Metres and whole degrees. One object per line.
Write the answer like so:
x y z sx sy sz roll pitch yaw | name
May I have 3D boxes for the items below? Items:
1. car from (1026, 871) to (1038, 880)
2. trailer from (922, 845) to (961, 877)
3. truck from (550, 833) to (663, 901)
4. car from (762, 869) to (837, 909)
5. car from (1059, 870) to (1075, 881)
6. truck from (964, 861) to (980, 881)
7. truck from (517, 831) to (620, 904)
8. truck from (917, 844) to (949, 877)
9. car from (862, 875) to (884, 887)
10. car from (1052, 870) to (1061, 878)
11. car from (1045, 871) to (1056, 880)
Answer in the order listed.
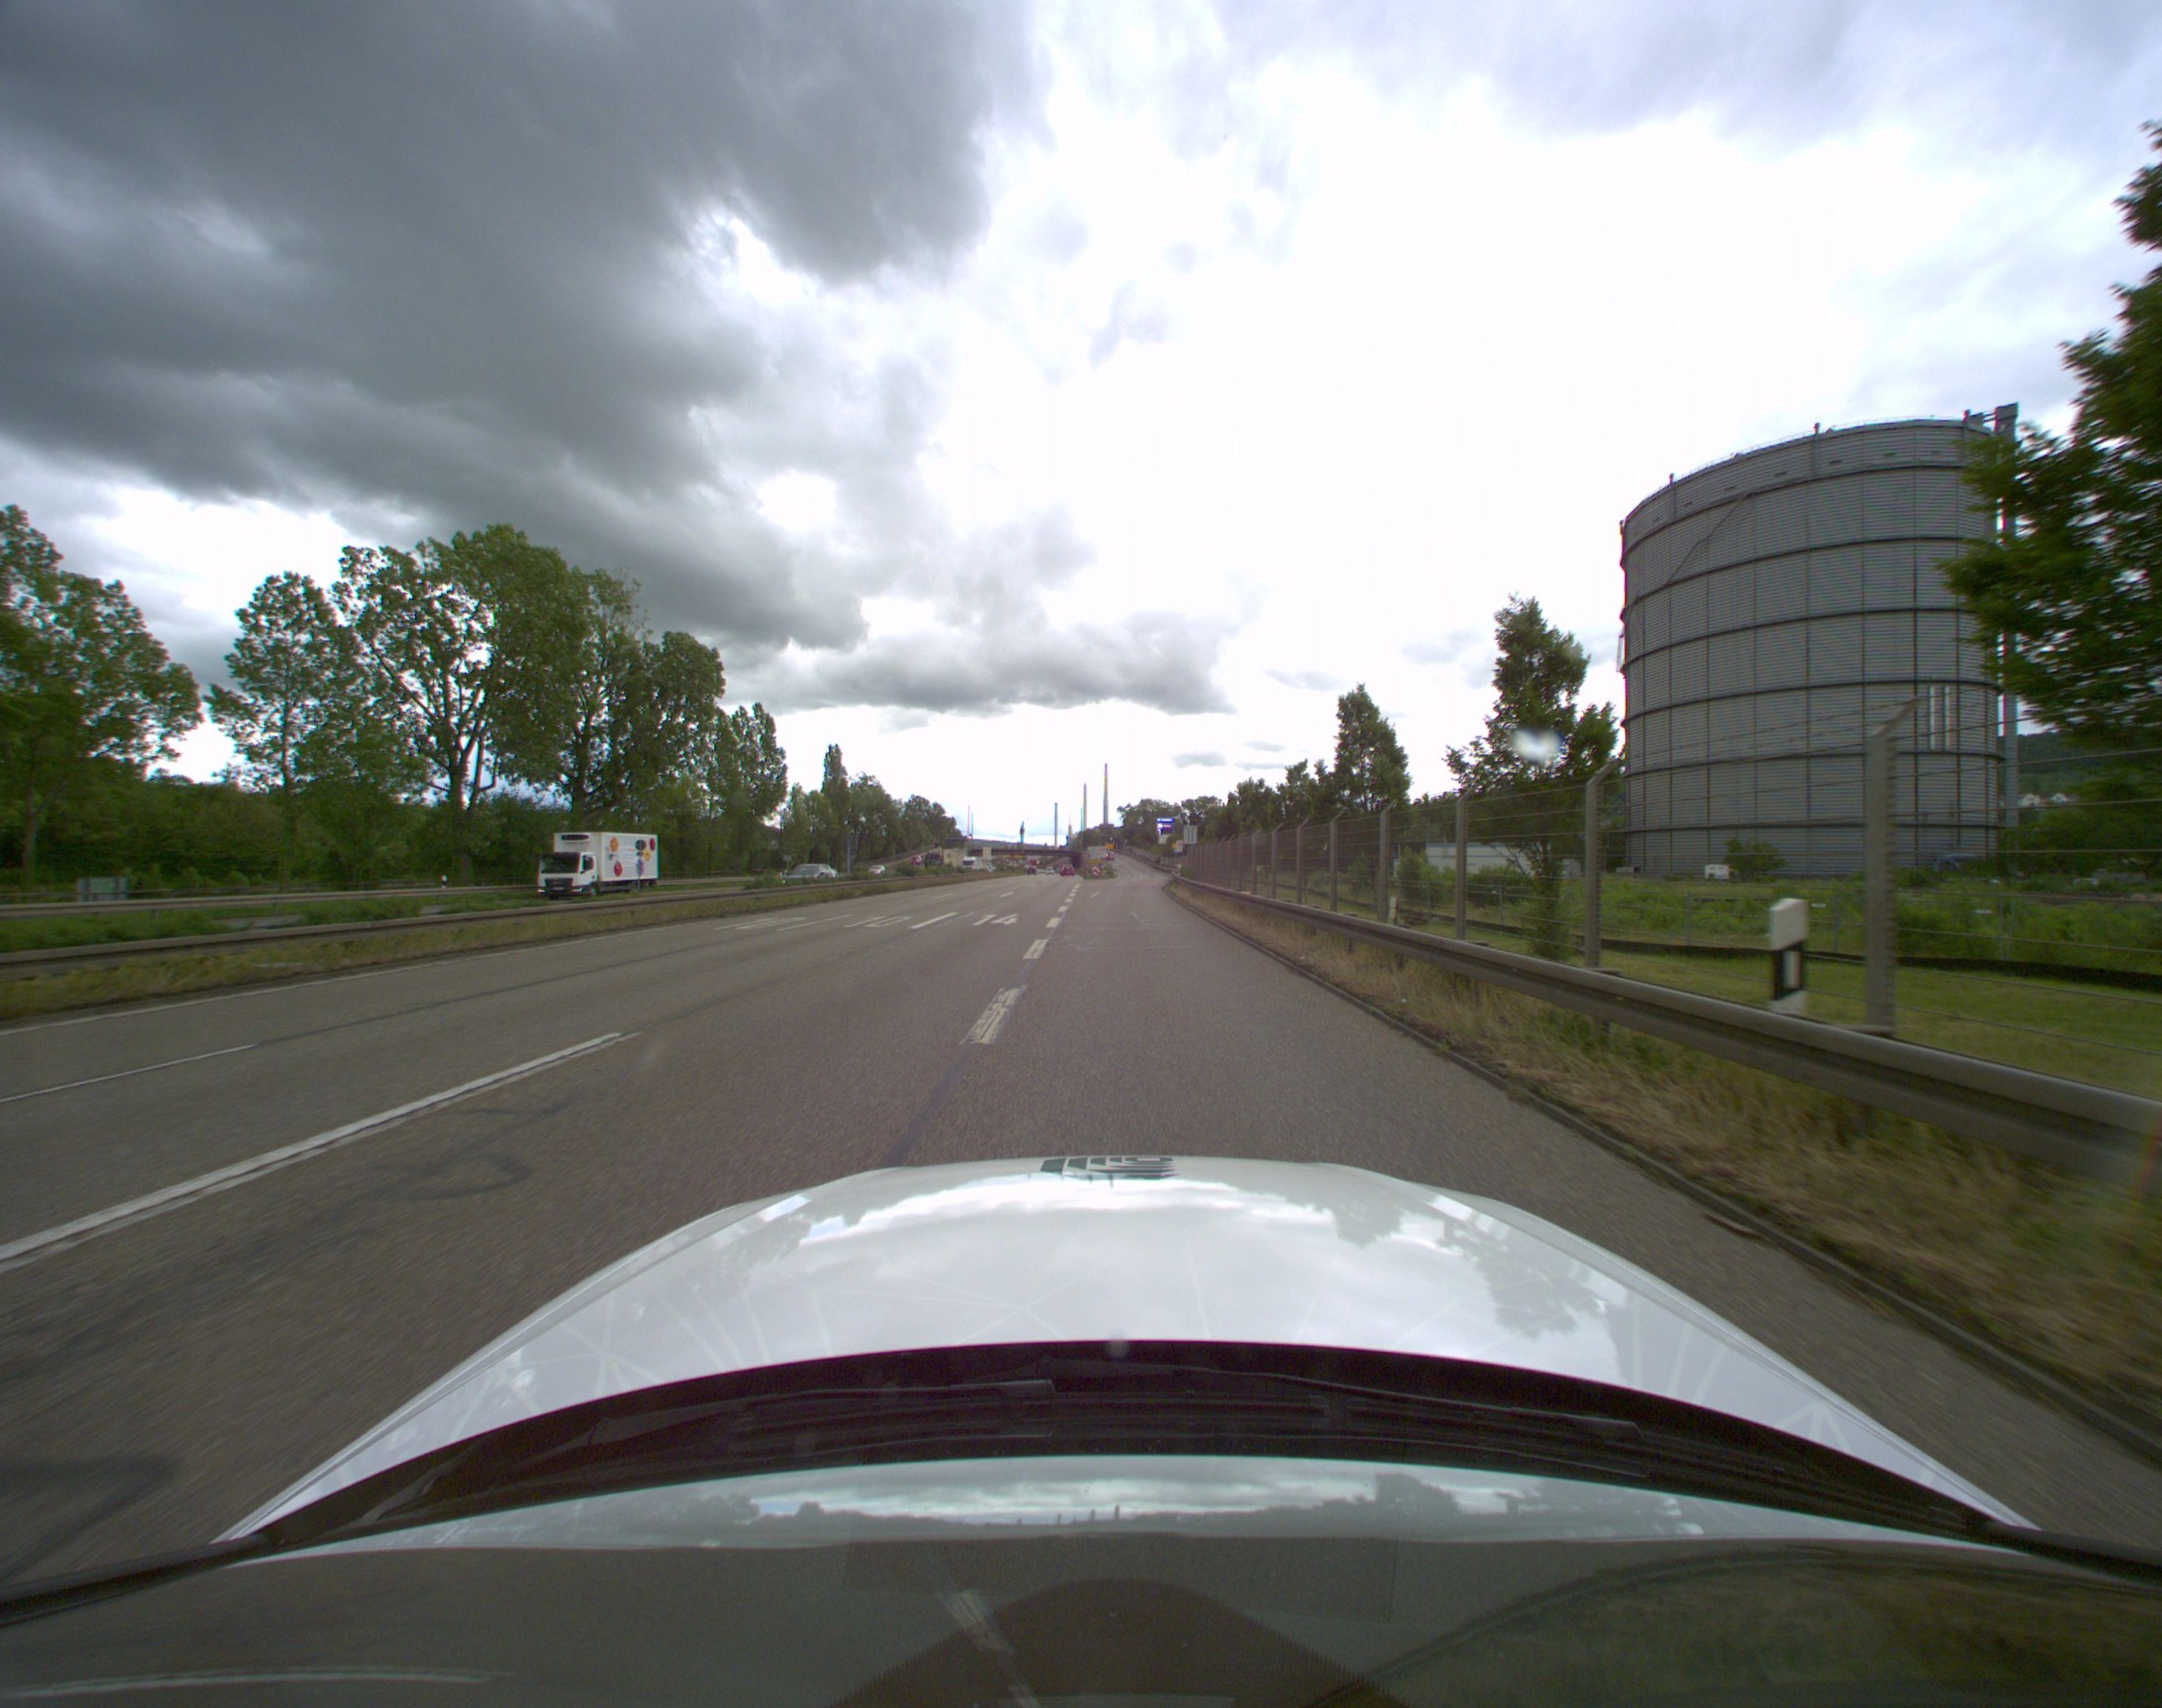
-9.979 4.332 166.307 1.987 1.684 4.000 1 0 0 | car
-21.686 1.183 127.386 3.452 4.673 14.777 0 -1 0 | trailer
-27.646 0.787 47.816 2.975 3.644 6.330 2 -1 -3 | truck
-14.767 1.774 43.051 1.841 1.730 5.524 -8 -1 0 | car
-1.922 2.949 110.919 1.988 1.420 3.997 1 0 -2 | car
-22.383 3.580 167.447 2.782 3.938 5.308 1 -2 -2 | truck
-27.469 0.722 43.860 2.977 3.643 3.996 2 -1 -3 | truck
-21.680 1.013 119.641 3.452 4.673 6.209 0 -1 0 | truck
-29.767 3.826 116.689 1.988 1.644 4.599 2 -1 -2 | car
-6.186 5.009 206.058 1.914 2.014 3.994 1 0 -4 | car
-6.255 4.436 168.399 1.987 1.684 4.000 1 0 0 | car
